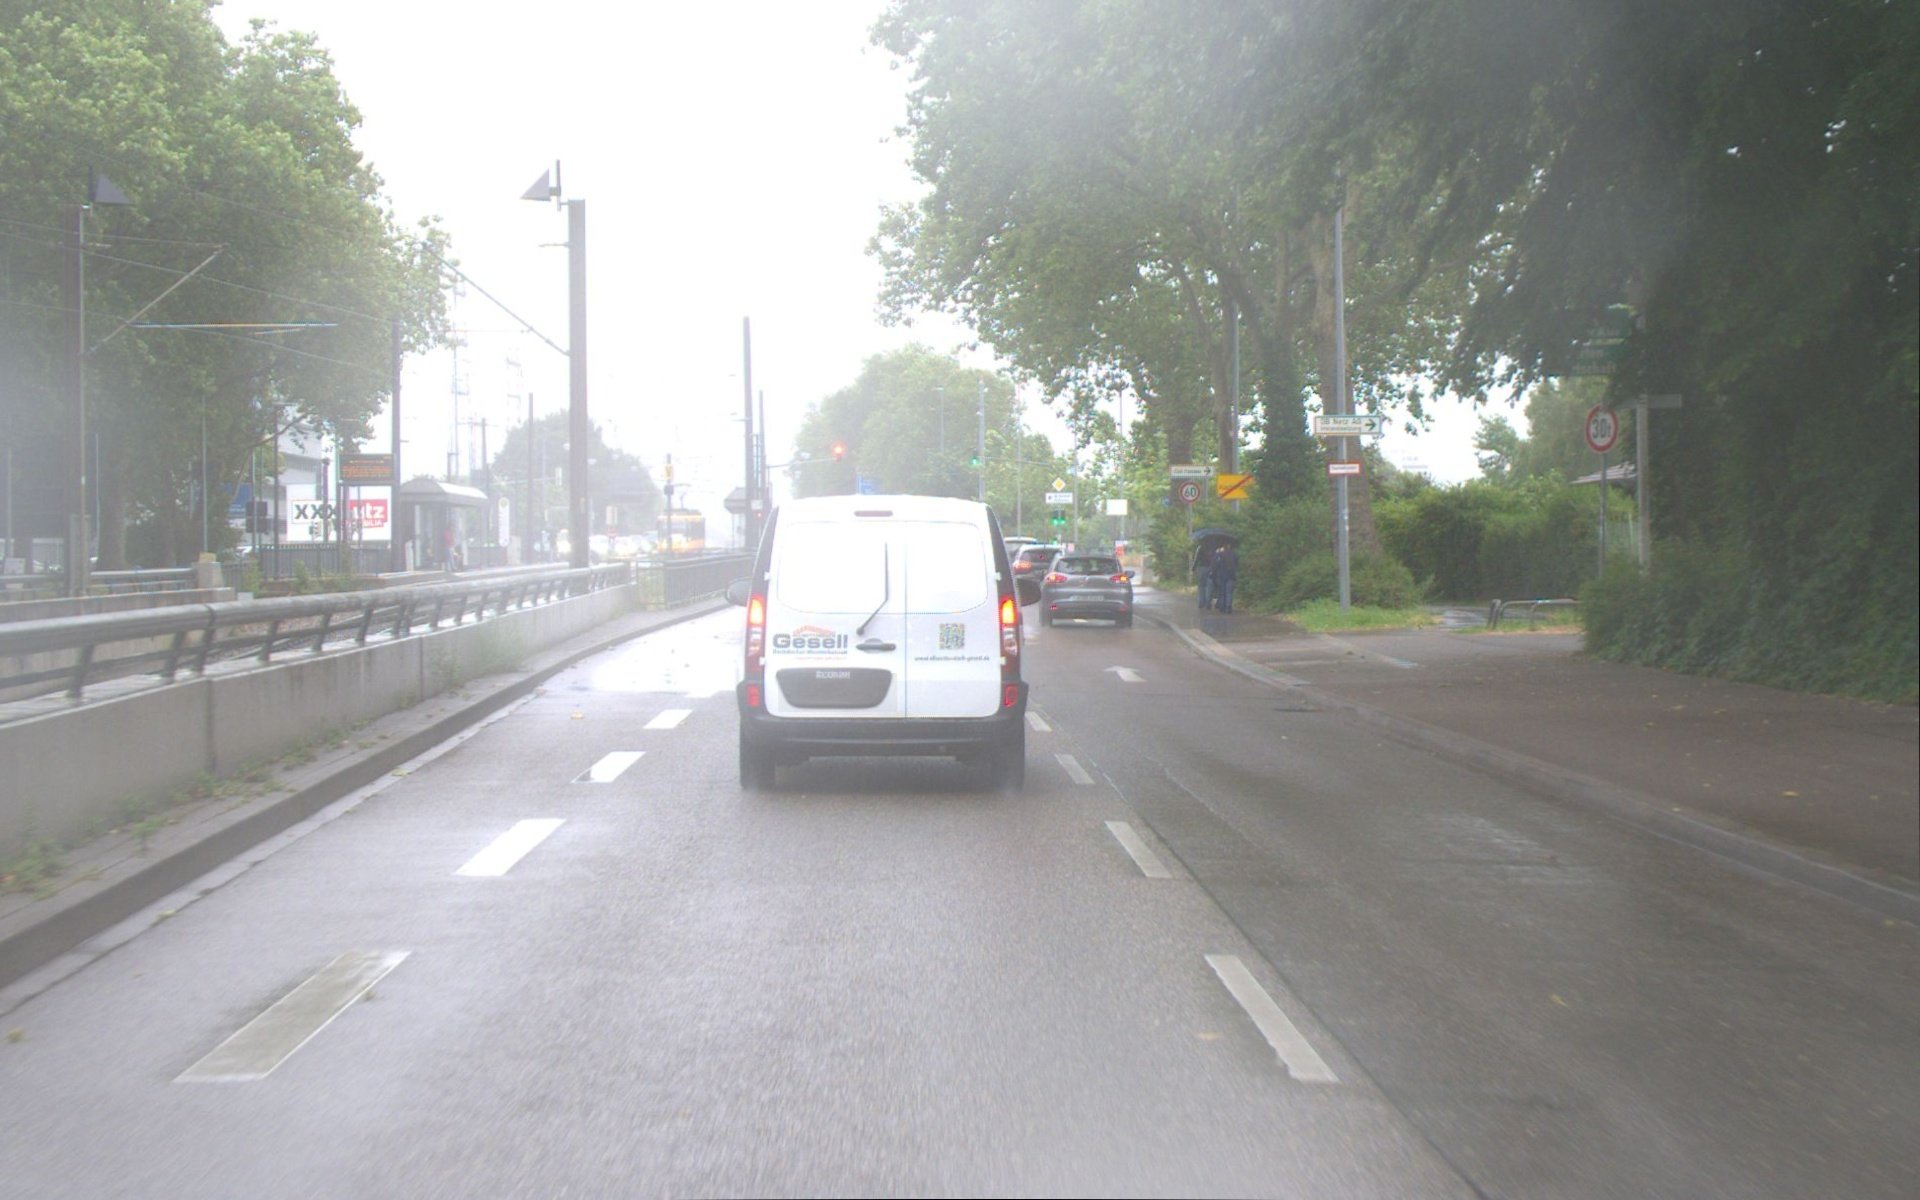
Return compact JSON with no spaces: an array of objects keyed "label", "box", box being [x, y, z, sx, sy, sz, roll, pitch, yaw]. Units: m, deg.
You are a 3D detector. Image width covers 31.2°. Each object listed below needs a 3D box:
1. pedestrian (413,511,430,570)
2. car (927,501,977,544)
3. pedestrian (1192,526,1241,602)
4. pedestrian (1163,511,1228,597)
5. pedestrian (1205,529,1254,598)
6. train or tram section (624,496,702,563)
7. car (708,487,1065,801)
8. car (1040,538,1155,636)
[{"label":"pedestrian","box":[-18.469,-2.027,117.935,0.493,2.007,0.583,2,1,-11]},{"label":"car","box":[-0.362,-3.274,145.506,1.993,1.744,4.000,2,1,-1]},{"label":"pedestrian","box":[5.437,-0.769,72.916,0.947,1.583,1.294,-1,1,0]},{"label":"pedestrian","box":[5.133,-0.996,74.902,1.240,1.779,1.147,-3,1,0]},{"label":"pedestrian","box":[5.553,-0.745,70.818,0.892,1.385,1.016,-2,1,0]},{"label":"train or tram section","box":[-19.401,-4.563,226.652,3.770,4.022,27.096,2,1,-2]},{"label":"car","box":[-0.534,0.222,22.131,2.024,1.769,4.275,2,1,-3]},{"label":"car","box":[2.586,-0.268,65.647,1.993,1.744,4.000,2,1,0]}]
